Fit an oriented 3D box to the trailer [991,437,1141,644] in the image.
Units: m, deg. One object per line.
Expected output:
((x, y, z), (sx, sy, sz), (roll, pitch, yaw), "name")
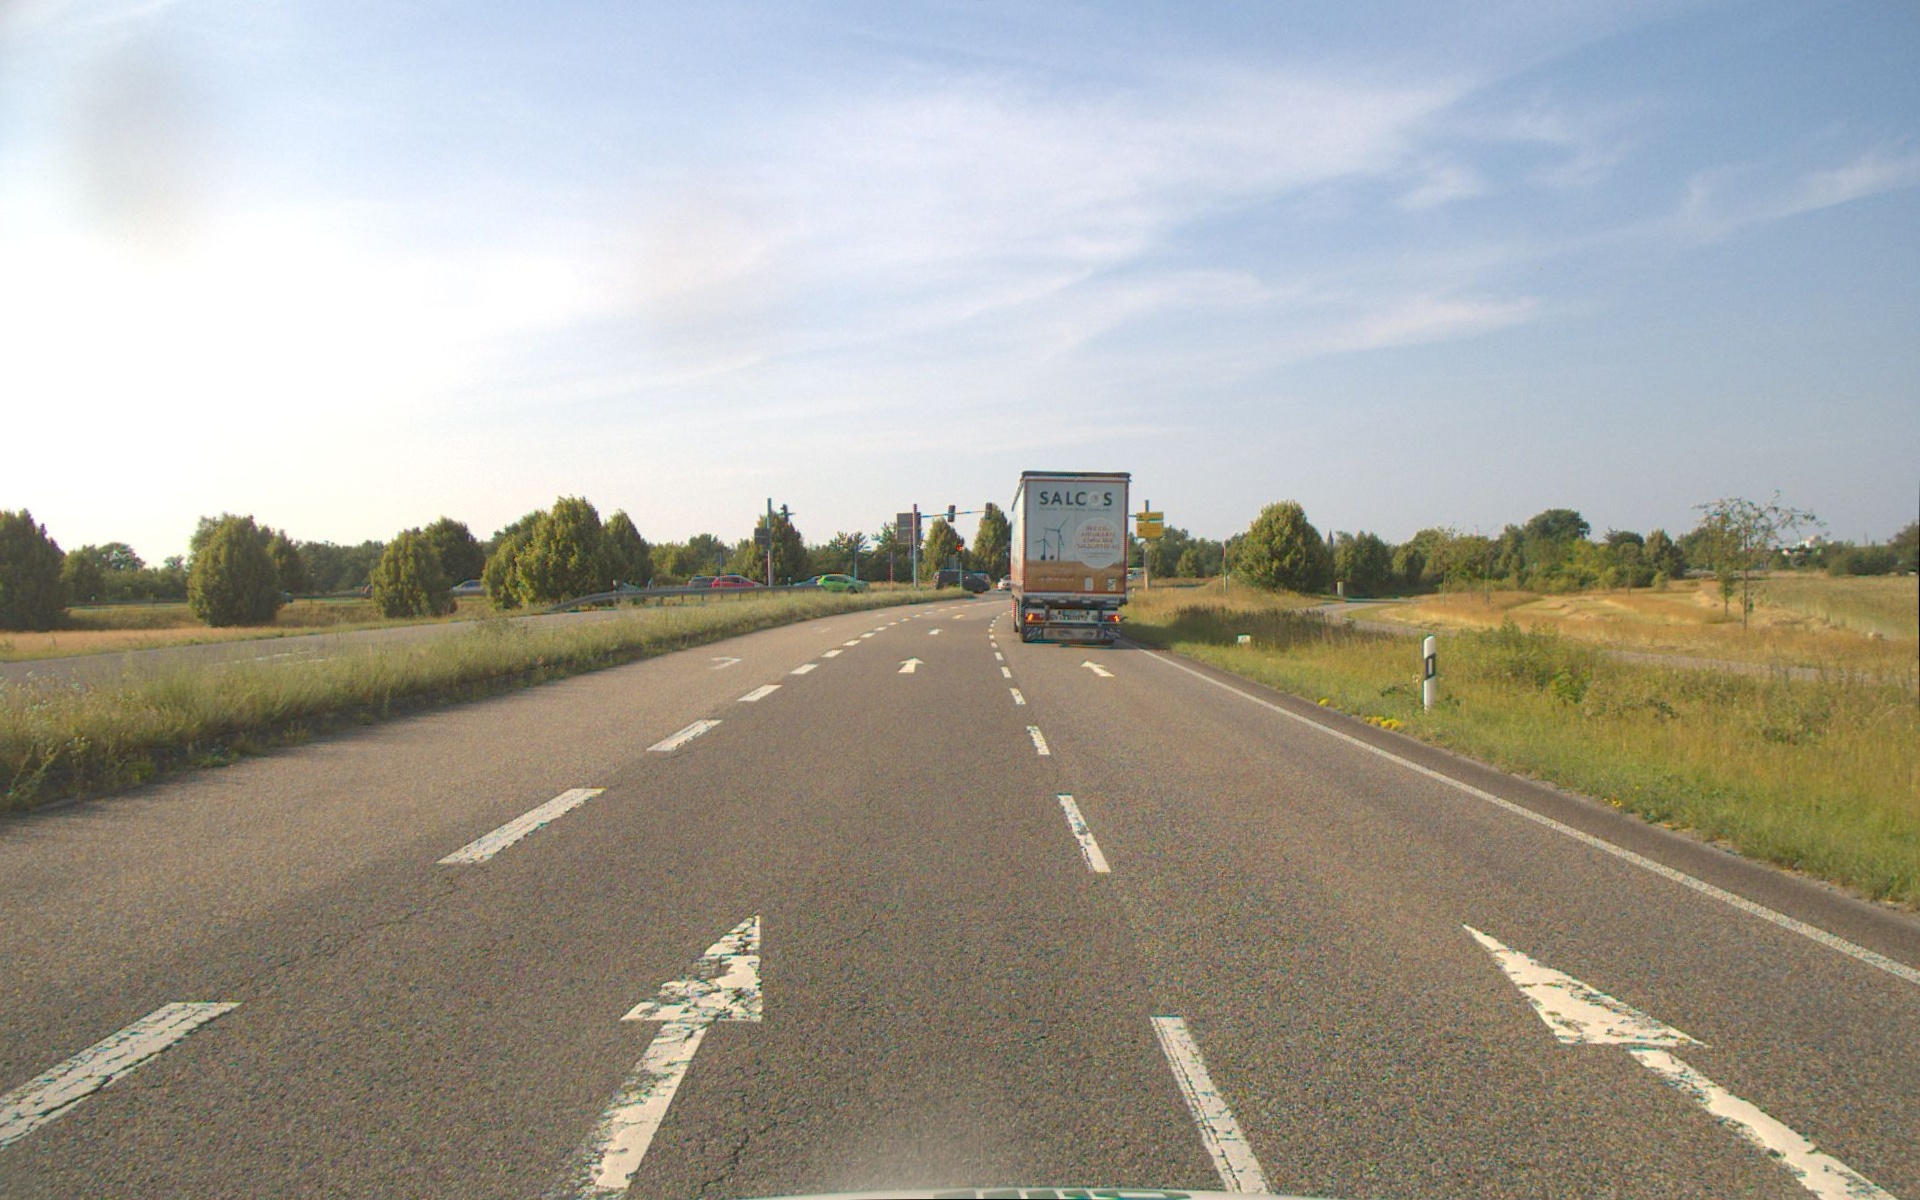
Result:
((2.586, -1.519, 45.105), (3.214, 4.762, 13.148), (1, 1, 0), "trailer")

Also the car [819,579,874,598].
((-8.991, -0.930, 131.274), (4.333, 1.441, 1.919), (1, 0, -3), "car")

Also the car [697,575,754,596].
((-18.857, -1.188, 133.278), (4.174, 1.592, 1.902), (1, 0, 6), "car")

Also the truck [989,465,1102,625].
((2.603, -1.676, 52.420), (3.232, 4.738, 5.732), (1, 1, 0), "truck")

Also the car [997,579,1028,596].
((4.810, -1.194, 150.918), (1.748, 1.514, 4.654), (0, 1, 16), "car")
